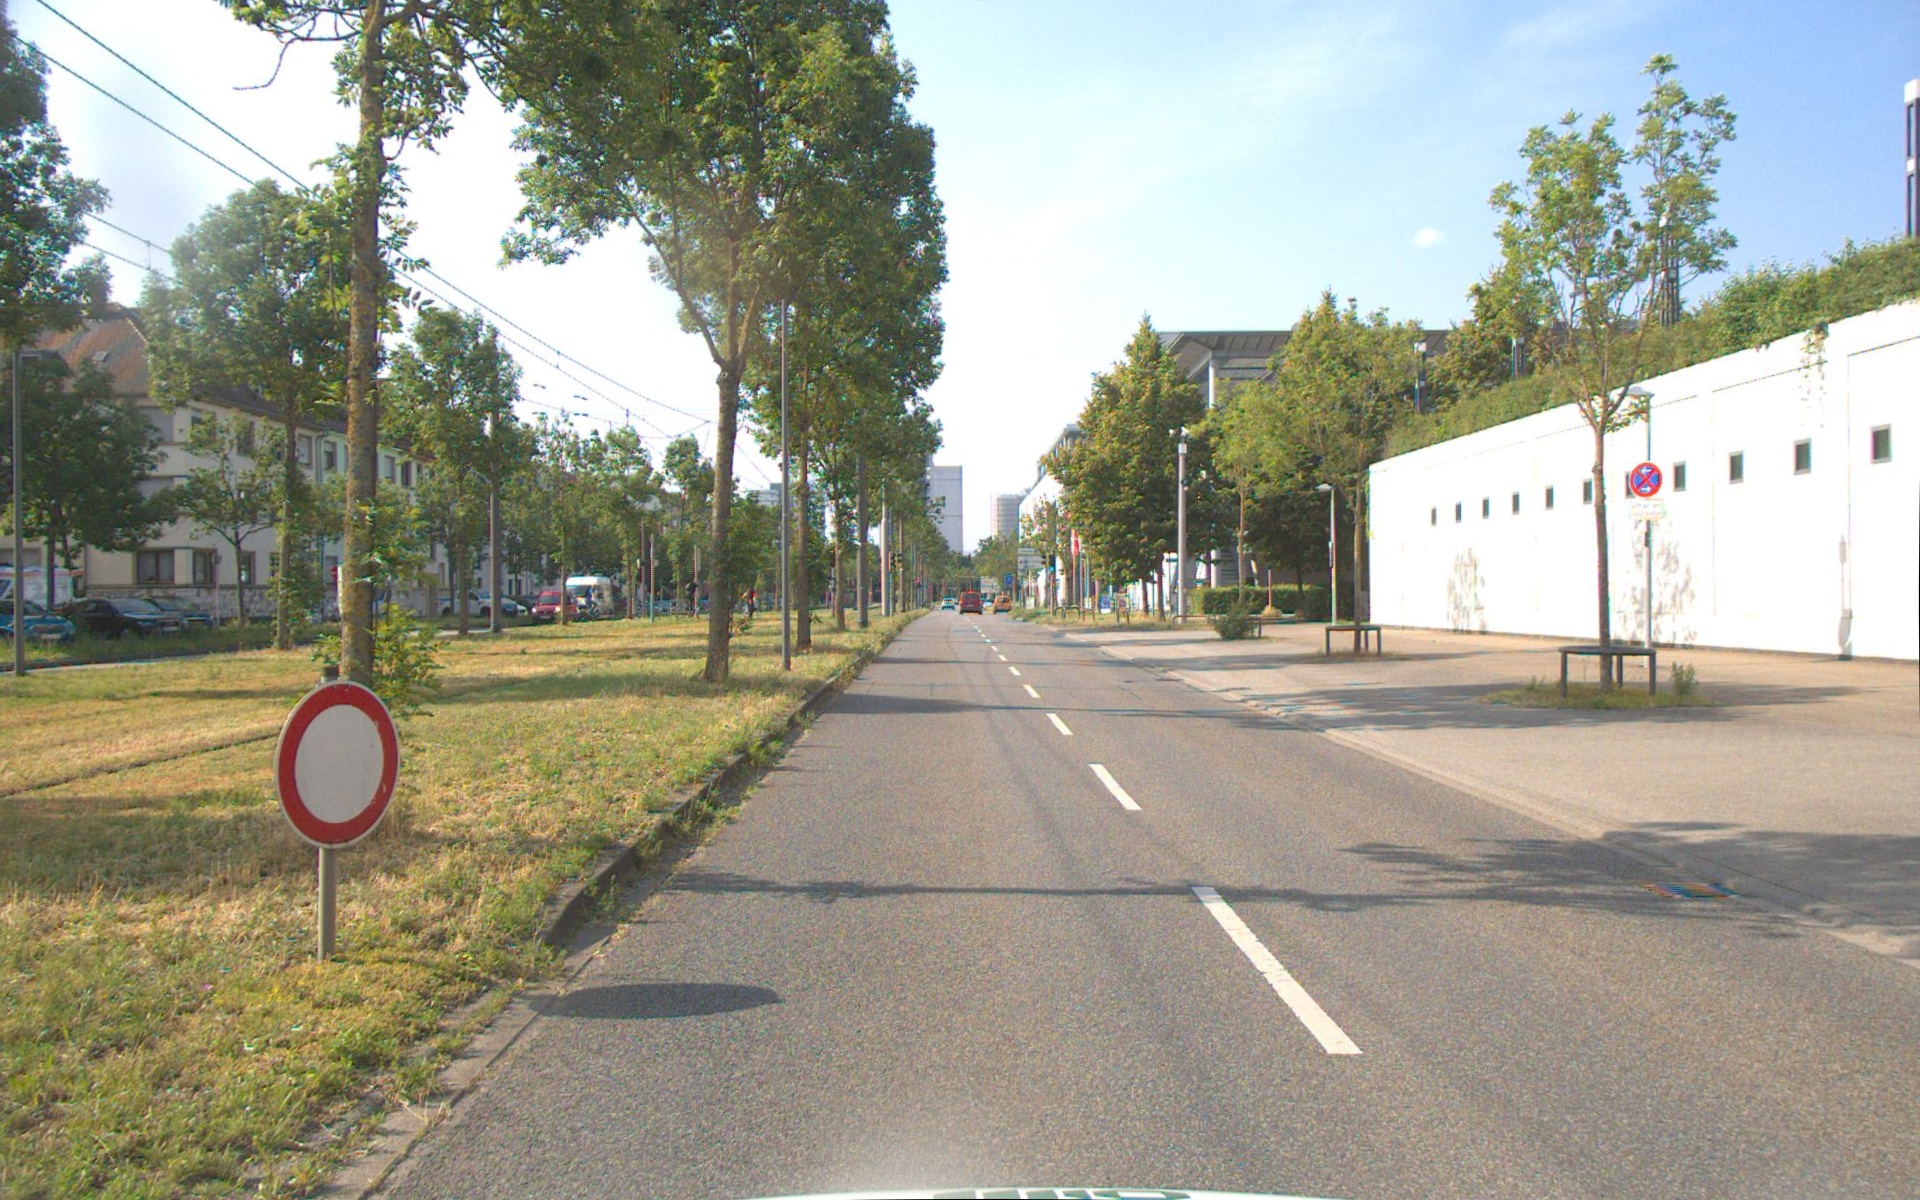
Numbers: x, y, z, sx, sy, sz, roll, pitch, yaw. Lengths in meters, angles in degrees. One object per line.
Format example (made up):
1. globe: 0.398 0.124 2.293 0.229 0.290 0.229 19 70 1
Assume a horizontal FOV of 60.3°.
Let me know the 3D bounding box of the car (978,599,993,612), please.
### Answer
1. car: 3.417 0.676 218.410 1.713 1.679 3.213 2 0 -3

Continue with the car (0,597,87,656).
1. car: -24.755 0.669 43.370 3.916 1.442 1.573 2 0 33

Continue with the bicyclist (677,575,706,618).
1. bicyclist: -12.593 -0.146 77.607 1.134 1.968 0.679 2 -1 -30

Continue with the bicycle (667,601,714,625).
1. bicycle: -12.634 0.597 77.616 2.044 1.060 0.661 2 -1 -30

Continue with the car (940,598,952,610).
1. car: -2.022 0.552 238.330 1.712 1.679 3.215 2 0 0

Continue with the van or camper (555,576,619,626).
1. van or camper: -20.424 0.081 90.807 2.158 2.575 6.028 2 0 -1

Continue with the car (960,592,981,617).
1. car: 0.877 0.371 140.851 1.712 2.049 3.215 2 0 0

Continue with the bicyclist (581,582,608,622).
1. bicyclist: -16.662 0.108 75.374 1.127 1.792 0.683 2 -1 -15

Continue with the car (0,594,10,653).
1. car: -25.413 0.523 41.077 3.918 1.442 1.572 2 0 34

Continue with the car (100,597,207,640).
1. car: -24.488 0.563 50.208 3.097 1.181 1.493 2 0 32

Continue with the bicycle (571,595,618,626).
1. bicycle: -16.664 0.461 75.374 2.032 1.347 0.780 2 -1 -15

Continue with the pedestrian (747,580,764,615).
1. pedestrian: -9.492 -0.107 76.790 0.612 1.599 0.711 2 -1 0

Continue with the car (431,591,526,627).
1. car: -26.008 0.486 89.277 5.216 1.768 1.994 2 0 33

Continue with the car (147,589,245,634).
1. car: -25.008 0.368 54.133 3.098 1.350 1.493 2 0 33

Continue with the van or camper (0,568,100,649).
1. van or camper: -32.014 0.255 56.457 1.998 2.612 6.355 2 0 -1

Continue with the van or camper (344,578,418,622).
1. van or camper: -32.901 0.013 94.148 1.952 2.369 5.828 2 0 1

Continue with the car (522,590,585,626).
1. car: -20.557 0.405 83.857 1.924 1.723 4.298 2 0 2

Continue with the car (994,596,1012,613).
1. car: 4.283 0.461 164.007 1.712 1.679 3.215 2 0 0
